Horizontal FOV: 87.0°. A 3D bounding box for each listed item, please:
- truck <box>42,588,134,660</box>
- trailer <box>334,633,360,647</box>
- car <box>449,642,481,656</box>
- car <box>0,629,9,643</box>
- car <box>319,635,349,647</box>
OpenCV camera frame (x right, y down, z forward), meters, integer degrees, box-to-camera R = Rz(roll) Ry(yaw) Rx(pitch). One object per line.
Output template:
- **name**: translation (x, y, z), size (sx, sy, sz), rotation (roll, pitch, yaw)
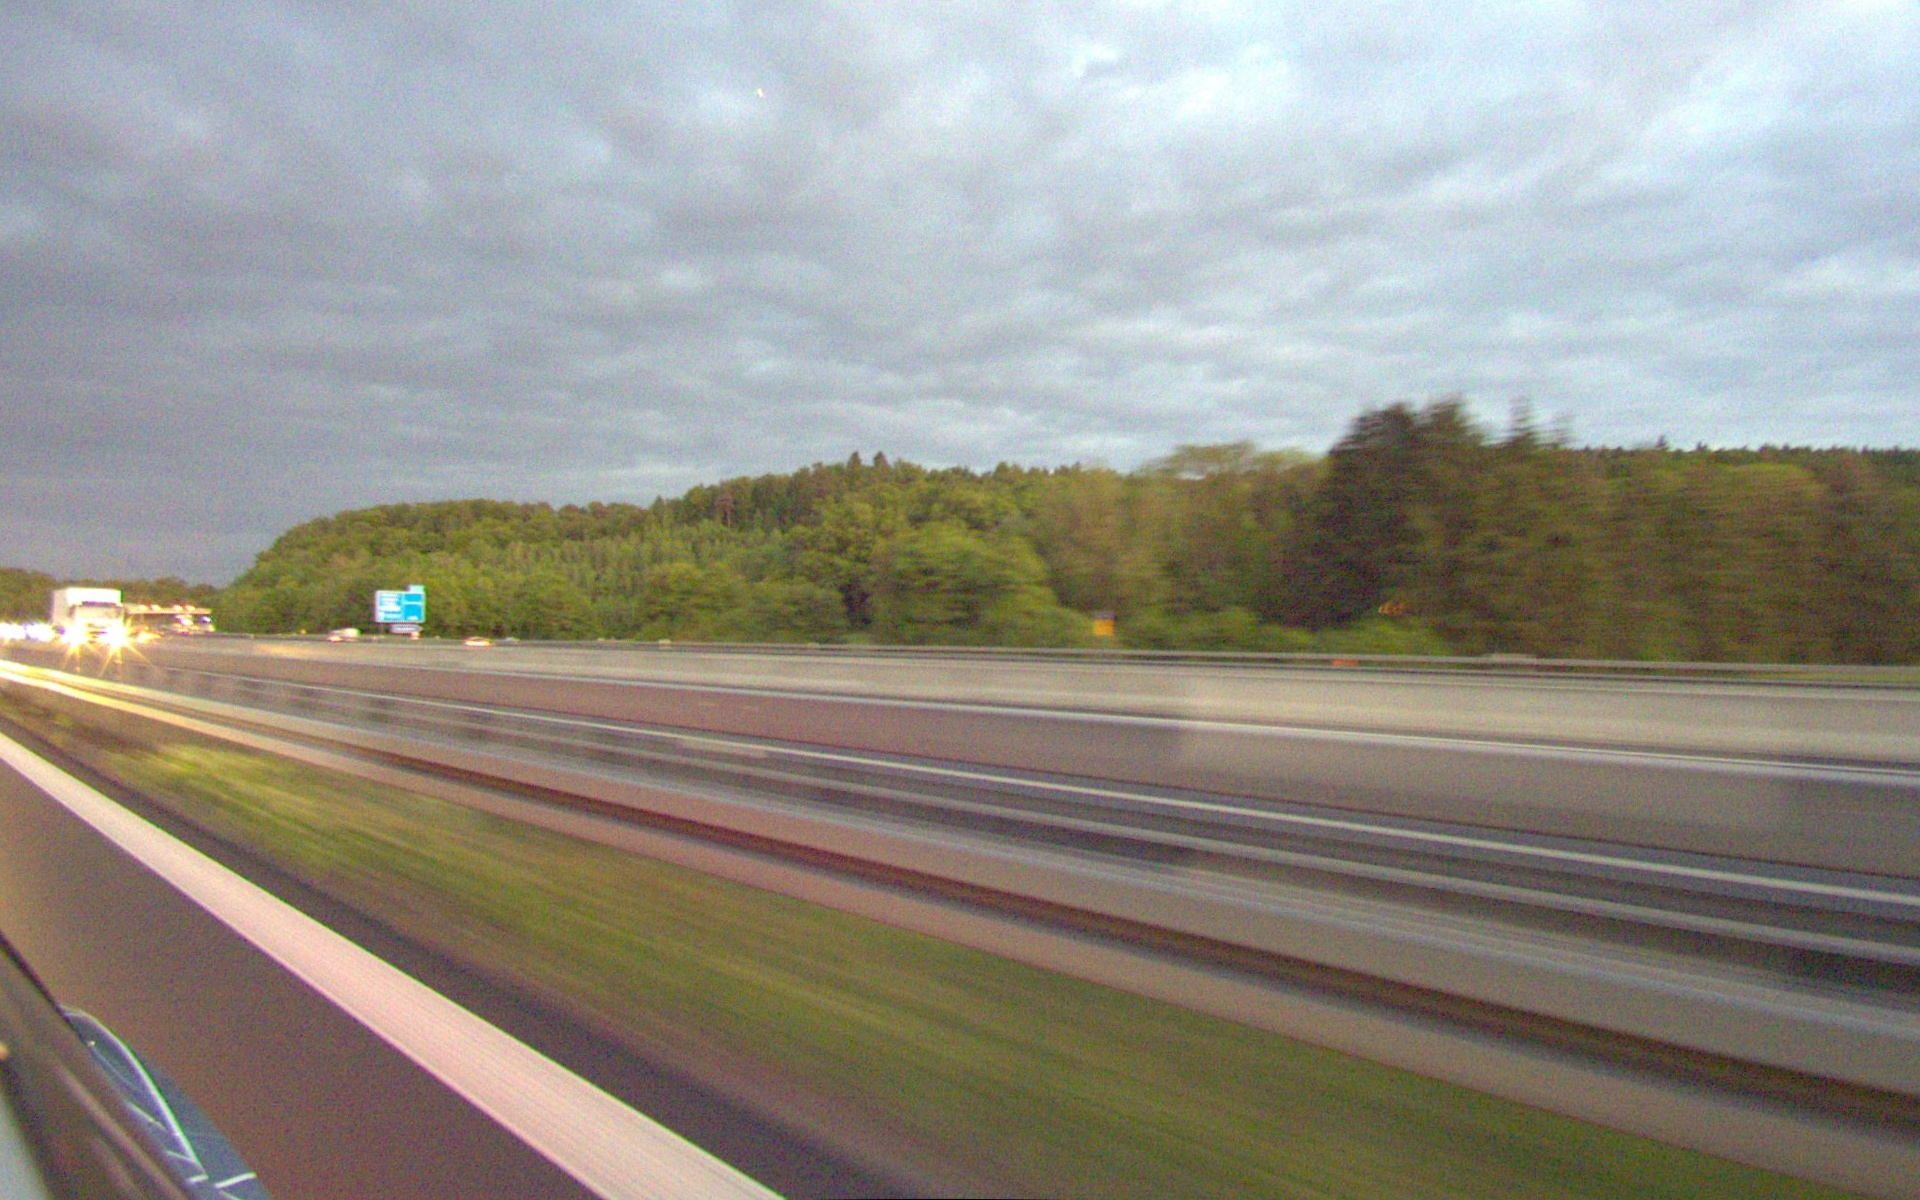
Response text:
- **truck**: translation (-56.909, 1.559, 65.943), size (9.886, 4.334, 3.006), rotation (-1, -3, 41)
- **trailer**: translation (-75.212, 4.879, 124.102), size (3.595, 1.608, 1.520), rotation (-1, -3, 38)
- **car**: translation (-57.147, 5.628, 116.811), size (4.307, 1.608, 1.748), rotation (-2, -3, 41)
- **car**: translation (-120.191, 4.531, 126.287), size (4.227, 1.697, 1.810), rotation (-1, -1, 41)
- **car**: translation (-78.361, 5.142, 126.644), size (4.461, 1.454, 1.818), rotation (-1, -3, 39)
